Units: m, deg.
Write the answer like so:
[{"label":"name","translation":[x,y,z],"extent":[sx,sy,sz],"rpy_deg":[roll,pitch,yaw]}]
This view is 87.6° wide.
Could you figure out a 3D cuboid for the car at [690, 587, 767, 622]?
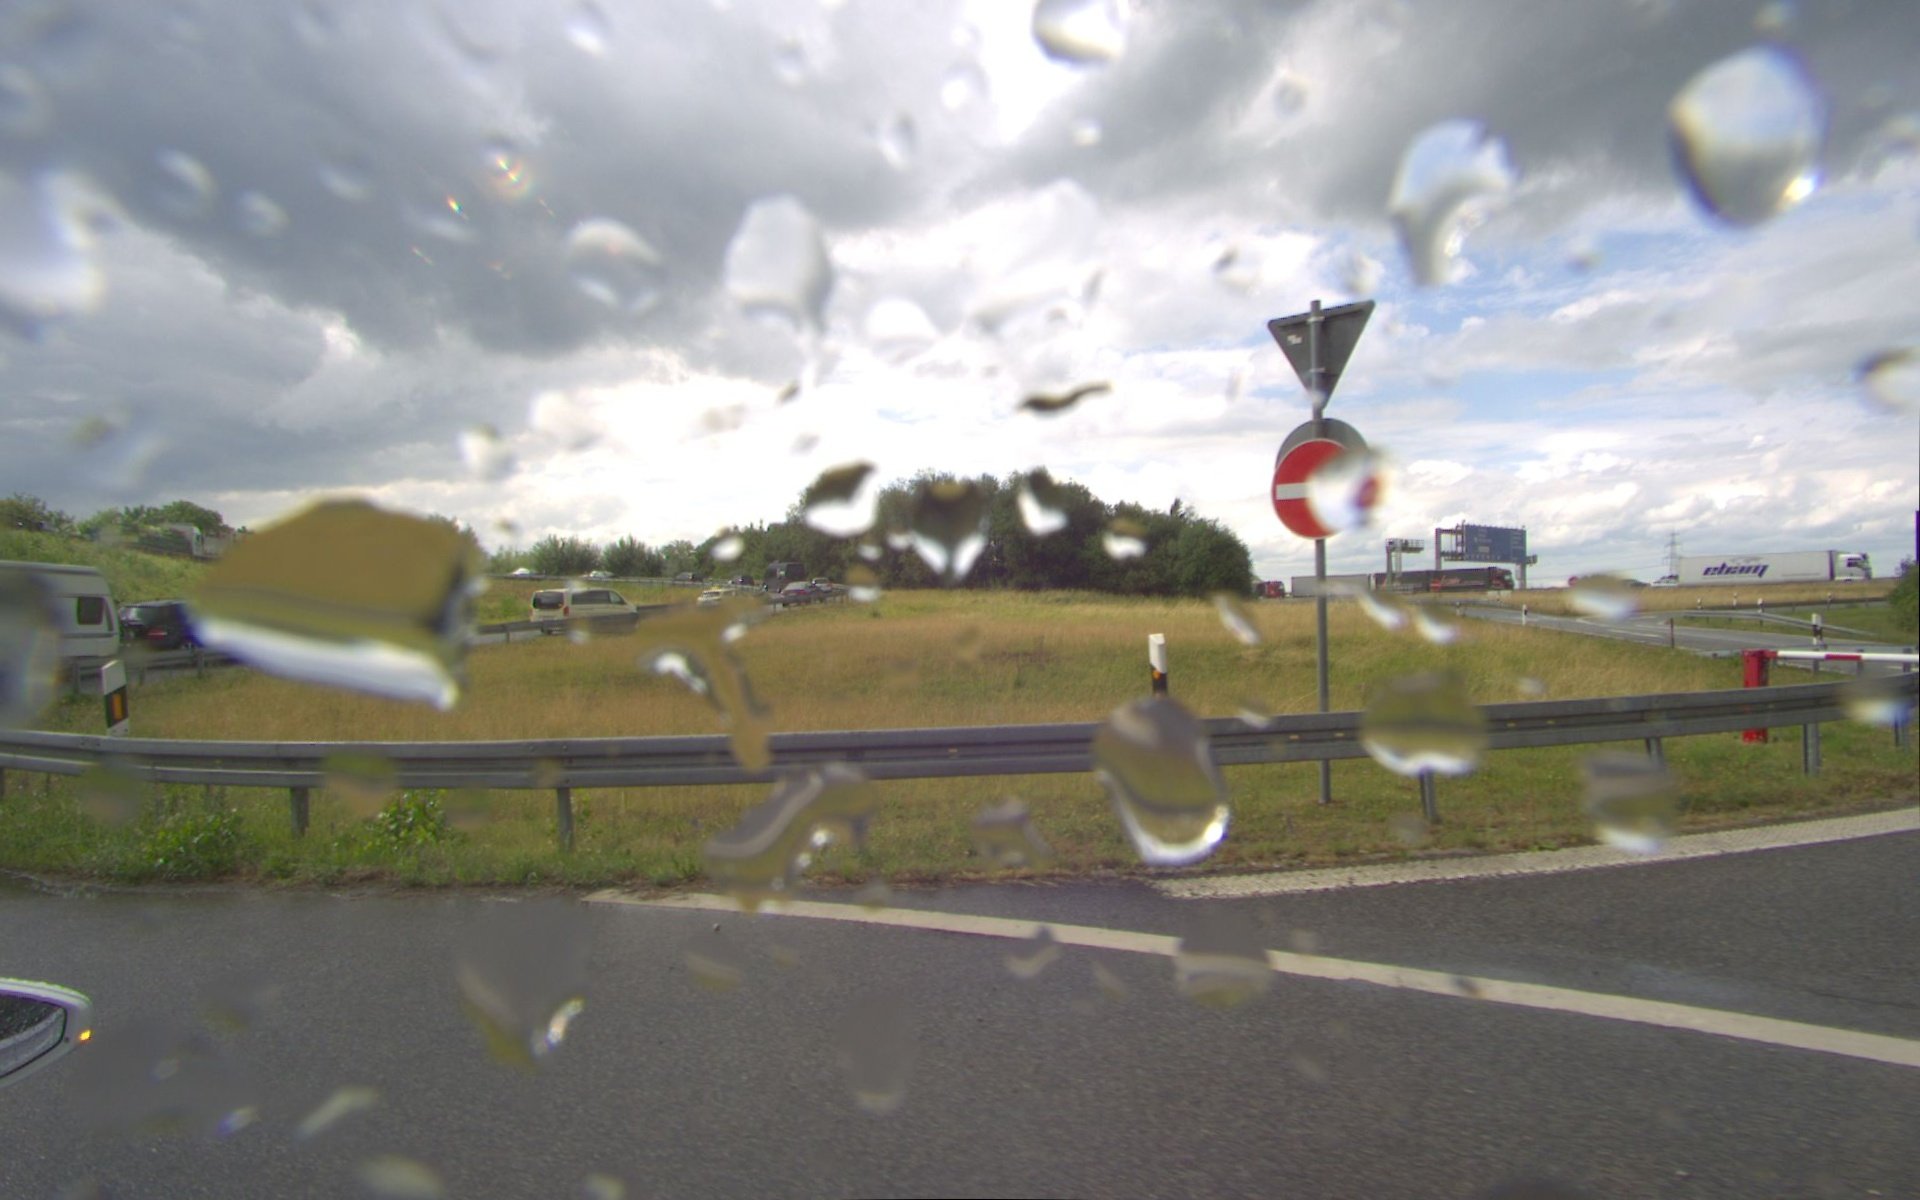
[{"label":"car","translation":[-12.836,0.232,55.800],"extent":[1.964,1.886,5.050],"rpy_deg":[-1,0,16]}]

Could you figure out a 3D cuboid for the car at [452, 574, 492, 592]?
[{"label":"car","translation":[-58.671,-2.078,120.396],"extent":[3.924,2.040,1.999],"rpy_deg":[-1,0,10]}]

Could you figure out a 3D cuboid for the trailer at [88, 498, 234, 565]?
[{"label":"trailer","translation":[-71.331,-5.824,90.339],"extent":[4.354,4.006,20.169],"rpy_deg":[1,-2,-21]}]

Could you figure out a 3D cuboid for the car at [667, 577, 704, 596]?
[{"label":"car","translation":[-29.440,-1.469,107.523],"extent":[3.953,2.041,1.984],"rpy_deg":[1,2,41]}]

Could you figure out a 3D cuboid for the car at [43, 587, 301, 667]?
[{"label":"car","translation":[-21.352,0.657,27.590],"extent":[2.389,1.951,5.759],"rpy_deg":[1,0,3]}]

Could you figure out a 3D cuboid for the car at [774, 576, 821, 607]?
[{"label":"car","translation":[-10.564,-0.528,65.590],"extent":[1.961,1.886,5.056],"rpy_deg":[-1,0,3]}]

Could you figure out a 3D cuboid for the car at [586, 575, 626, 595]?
[{"label":"car","translation":[-39.805,-1.684,112.541],"extent":[3.931,2.039,1.996],"rpy_deg":[-1,-2,21]}]

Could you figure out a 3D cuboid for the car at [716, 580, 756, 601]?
[{"label":"car","translation":[-22.284,-0.947,99.478],"extent":[3.958,2.040,1.982],"rpy_deg":[-1,0,44]}]

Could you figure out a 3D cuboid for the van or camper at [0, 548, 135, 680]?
[{"label":"van or camper","translation":[-21.357,0.263,21.566],"extent":[2.391,2.765,6.000],"rpy_deg":[1,0,-3]}]

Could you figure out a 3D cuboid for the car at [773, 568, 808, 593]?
[{"label":"car","translation":[-15.363,-1.727,90.626],"extent":[1.971,2.039,3.981],"rpy_deg":[1,-2,-29]}]

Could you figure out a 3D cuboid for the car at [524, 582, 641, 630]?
[{"label":"car","translation":[-15.811,0.251,42.259],"extent":[1.964,1.886,5.049],"rpy_deg":[-1,0,17]}]

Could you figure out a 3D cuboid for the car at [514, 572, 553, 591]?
[{"label":"car","translation":[-49.861,-2.192,117.139],"extent":[3.931,2.039,1.996],"rpy_deg":[-1,-2,21]}]

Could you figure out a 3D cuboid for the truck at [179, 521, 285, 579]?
[{"label":"truck","translation":[-78.310,-5.117,108.413],"extent":[4.400,4.560,19.329],"rpy_deg":[1,-2,-21]}]

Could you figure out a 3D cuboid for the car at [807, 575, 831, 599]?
[{"label":"car","translation":[-11.320,-1.042,80.221],"extent":[1.634,1.808,5.053],"rpy_deg":[-1,0,-10]}]
